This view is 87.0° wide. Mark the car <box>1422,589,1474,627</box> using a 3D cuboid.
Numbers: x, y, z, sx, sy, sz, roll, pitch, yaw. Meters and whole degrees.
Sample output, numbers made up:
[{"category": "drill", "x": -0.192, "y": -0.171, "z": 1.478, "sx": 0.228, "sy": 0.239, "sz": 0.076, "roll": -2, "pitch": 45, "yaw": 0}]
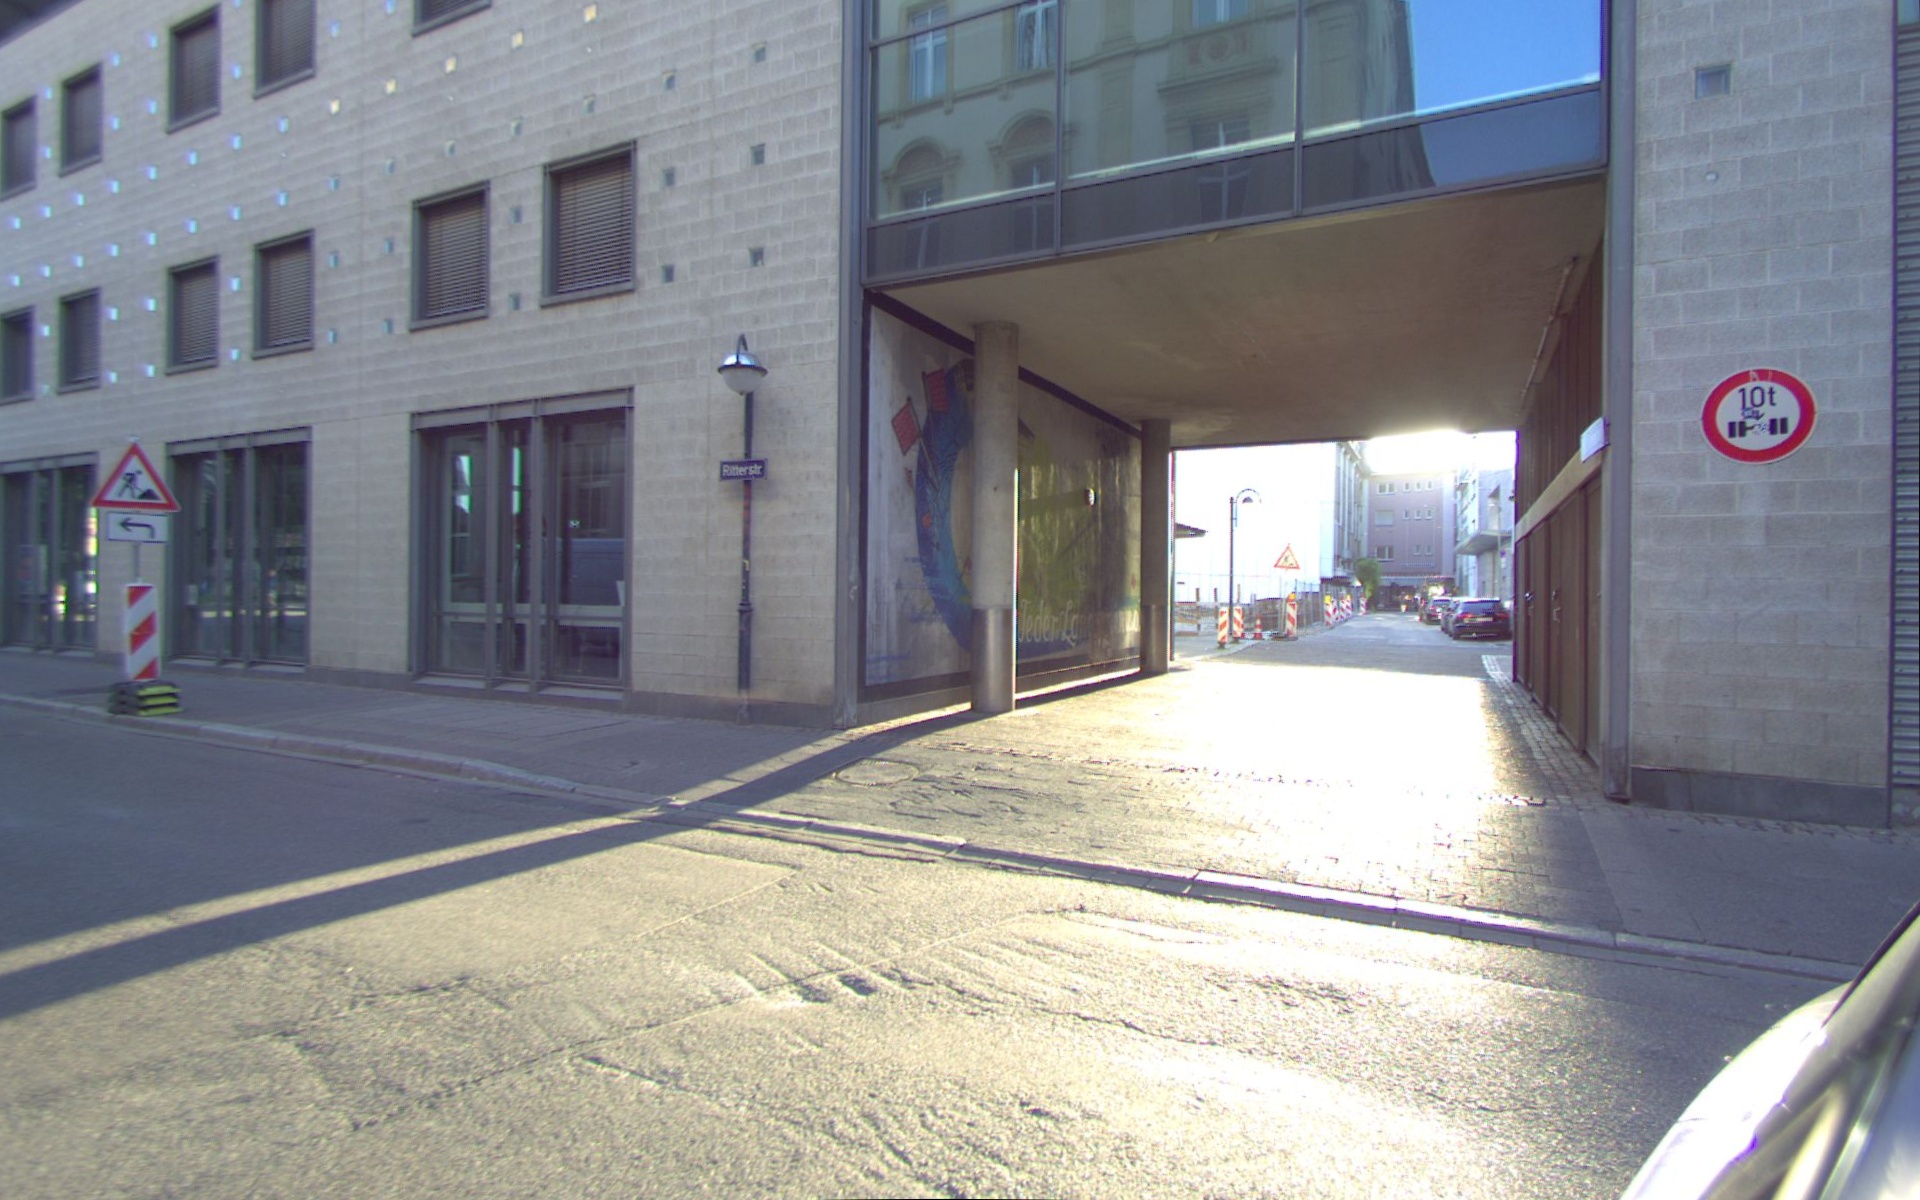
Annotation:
[{"category": "car", "x": 20.554, "y": 0.301, "z": 42.719, "sx": 1.581, "sy": 1.512, "sz": 3.423, "roll": 1, "pitch": 1, "yaw": 19}]

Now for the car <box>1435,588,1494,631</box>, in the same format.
[{"category": "car", "x": 19.334, "y": 0.326, "z": 38.875, "sx": 1.581, "sy": 1.512, "sz": 3.423, "roll": 1, "pitch": 1, "yaw": 19}]

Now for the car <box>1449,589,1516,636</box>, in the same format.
[{"category": "car", "x": 18.157, "y": 0.384, "z": 35.287, "sx": 1.581, "sy": 1.512, "sz": 3.423, "roll": 1, "pitch": 1, "yaw": 19}]

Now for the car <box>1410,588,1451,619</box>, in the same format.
[{"category": "car", "x": 24.494, "y": 0.171, "z": 52.751, "sx": 1.581, "sy": 1.512, "sz": 3.423, "roll": 1, "pitch": 1, "yaw": 19}]

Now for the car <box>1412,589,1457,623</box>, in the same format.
[{"category": "car", "x": 22.567, "y": 0.242, "z": 48.218, "sx": 1.581, "sy": 1.512, "sz": 3.423, "roll": 1, "pitch": 1, "yaw": 19}]
